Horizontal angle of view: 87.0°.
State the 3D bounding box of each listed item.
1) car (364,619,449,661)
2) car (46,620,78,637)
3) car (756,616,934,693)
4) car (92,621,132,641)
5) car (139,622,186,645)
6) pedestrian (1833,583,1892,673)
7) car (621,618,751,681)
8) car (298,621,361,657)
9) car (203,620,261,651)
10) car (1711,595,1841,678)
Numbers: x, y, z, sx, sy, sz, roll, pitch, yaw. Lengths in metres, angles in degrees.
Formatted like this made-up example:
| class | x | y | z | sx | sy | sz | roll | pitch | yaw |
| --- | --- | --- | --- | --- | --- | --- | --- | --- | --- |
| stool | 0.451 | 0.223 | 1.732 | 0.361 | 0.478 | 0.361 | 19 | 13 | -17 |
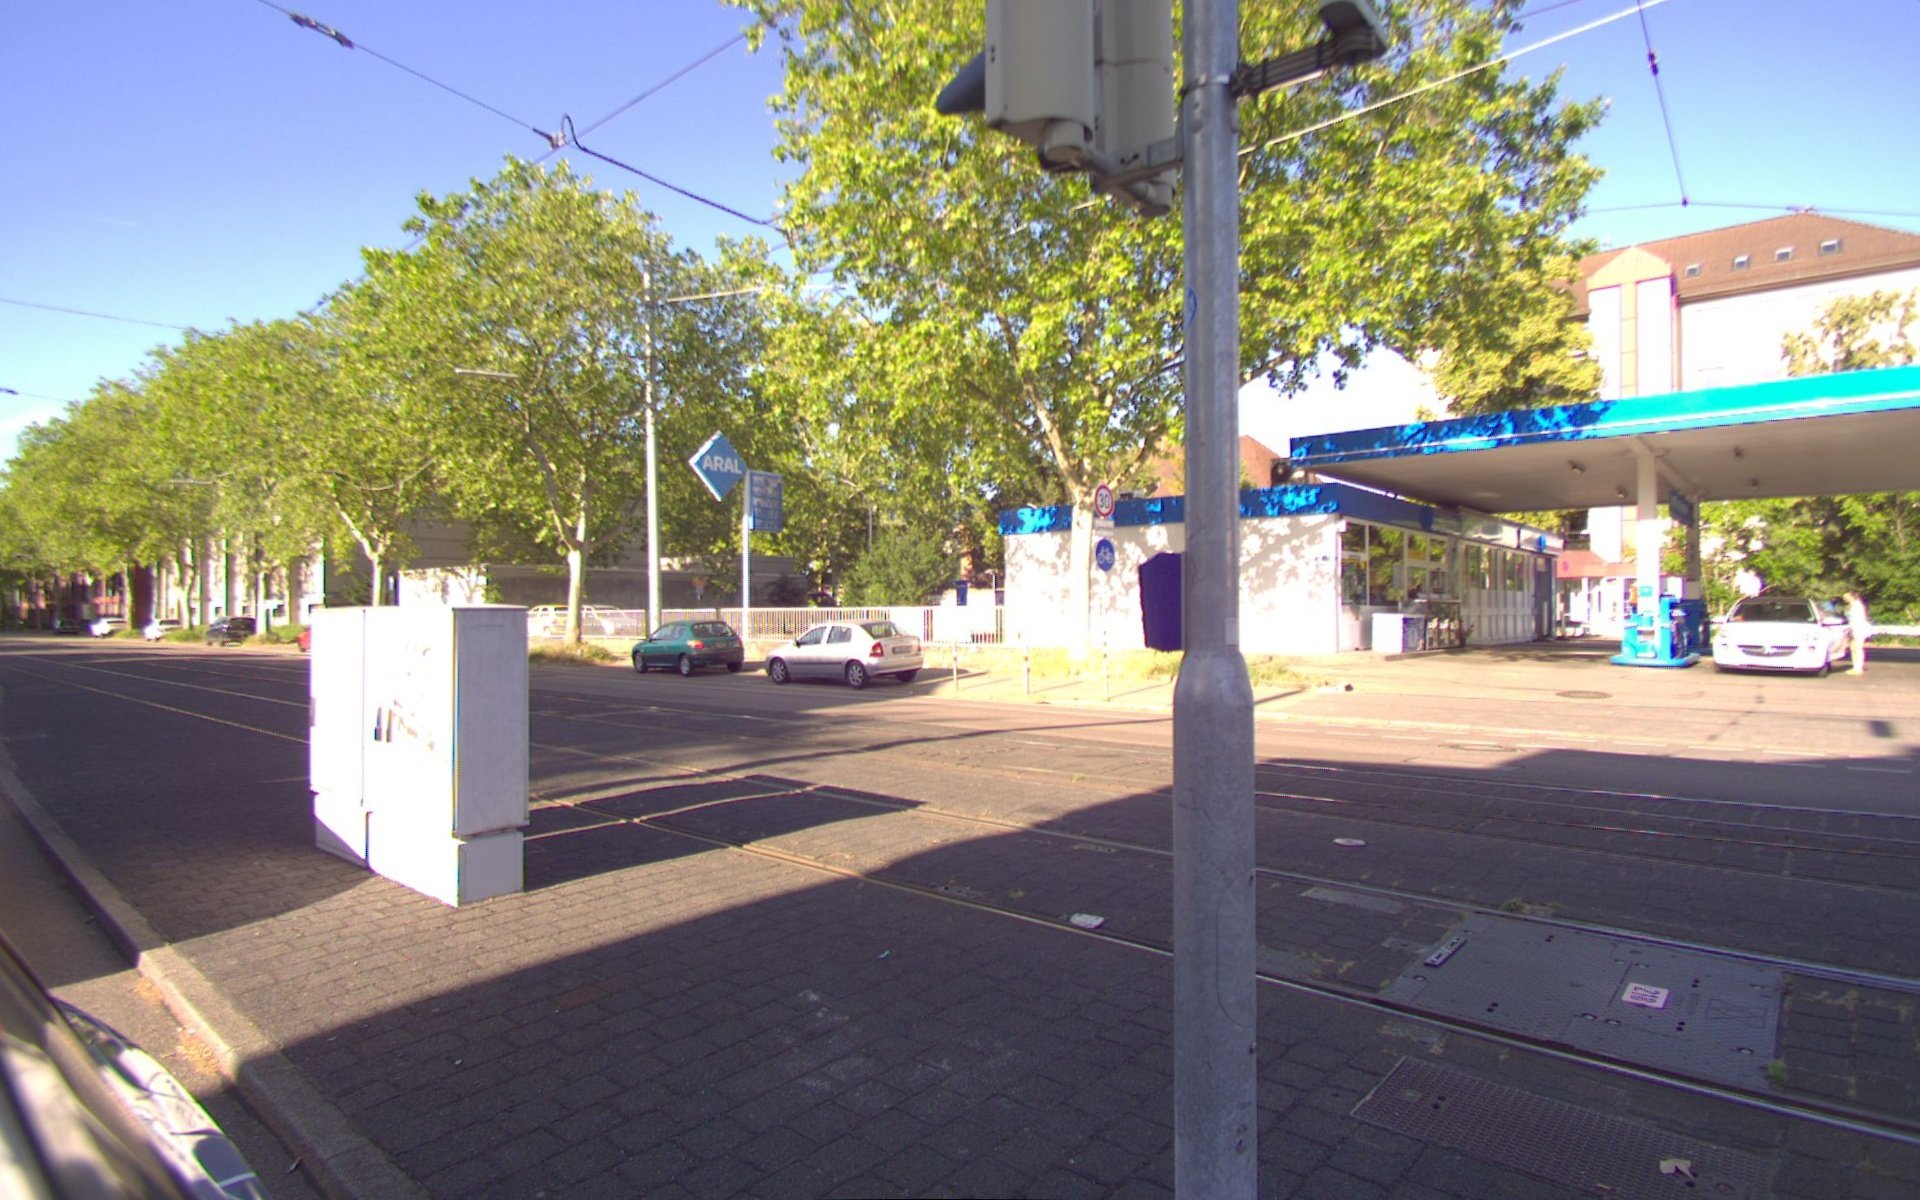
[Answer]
| class | x | y | z | sx | sy | sz | roll | pitch | yaw |
| --- | --- | --- | --- | --- | --- | --- | --- | --- | --- |
| car | -21.944 | 1.544 | 40.066 | 3.652 | 1.541 | 1.802 | -1 | -1 | 41 |
| car | -85.319 | 2.715 | 96.141 | 3.998 | 1.525 | 1.779 | -1 | -1 | 41 |
| car | -2.635 | 1.154 | 22.674 | 3.965 | 1.475 | 1.771 | -1 | 2 | 43 |
| car | -66.682 | 2.388 | 79.550 | 3.998 | 1.525 | 1.779 | -1 | -1 | 41 |
| car | -53.719 | 2.254 | 68.183 | 3.998 | 1.509 | 1.779 | -1 | -1 | 41 |
| pedestrian | 17.345 | 0.534 | 19.471 | 0.760 | 1.705 | 0.579 | -1 | -2 | 37 |
| car | -7.333 | 1.272 | 26.944 | 3.519 | 1.475 | 1.670 | -1 | 2 | 43 |
| car | -28.557 | 1.743 | 45.815 | 3.045 | 1.519 | 1.620 | -1 | -1 | 41 |
| car | -40.755 | 1.943 | 56.608 | 3.998 | 1.674 | 1.779 | -1 | -1 | 41 |
| car | 16.021 | 0.672 | 19.917 | 1.812 | 1.453 | 3.947 | -1 | -1 | 39 |
